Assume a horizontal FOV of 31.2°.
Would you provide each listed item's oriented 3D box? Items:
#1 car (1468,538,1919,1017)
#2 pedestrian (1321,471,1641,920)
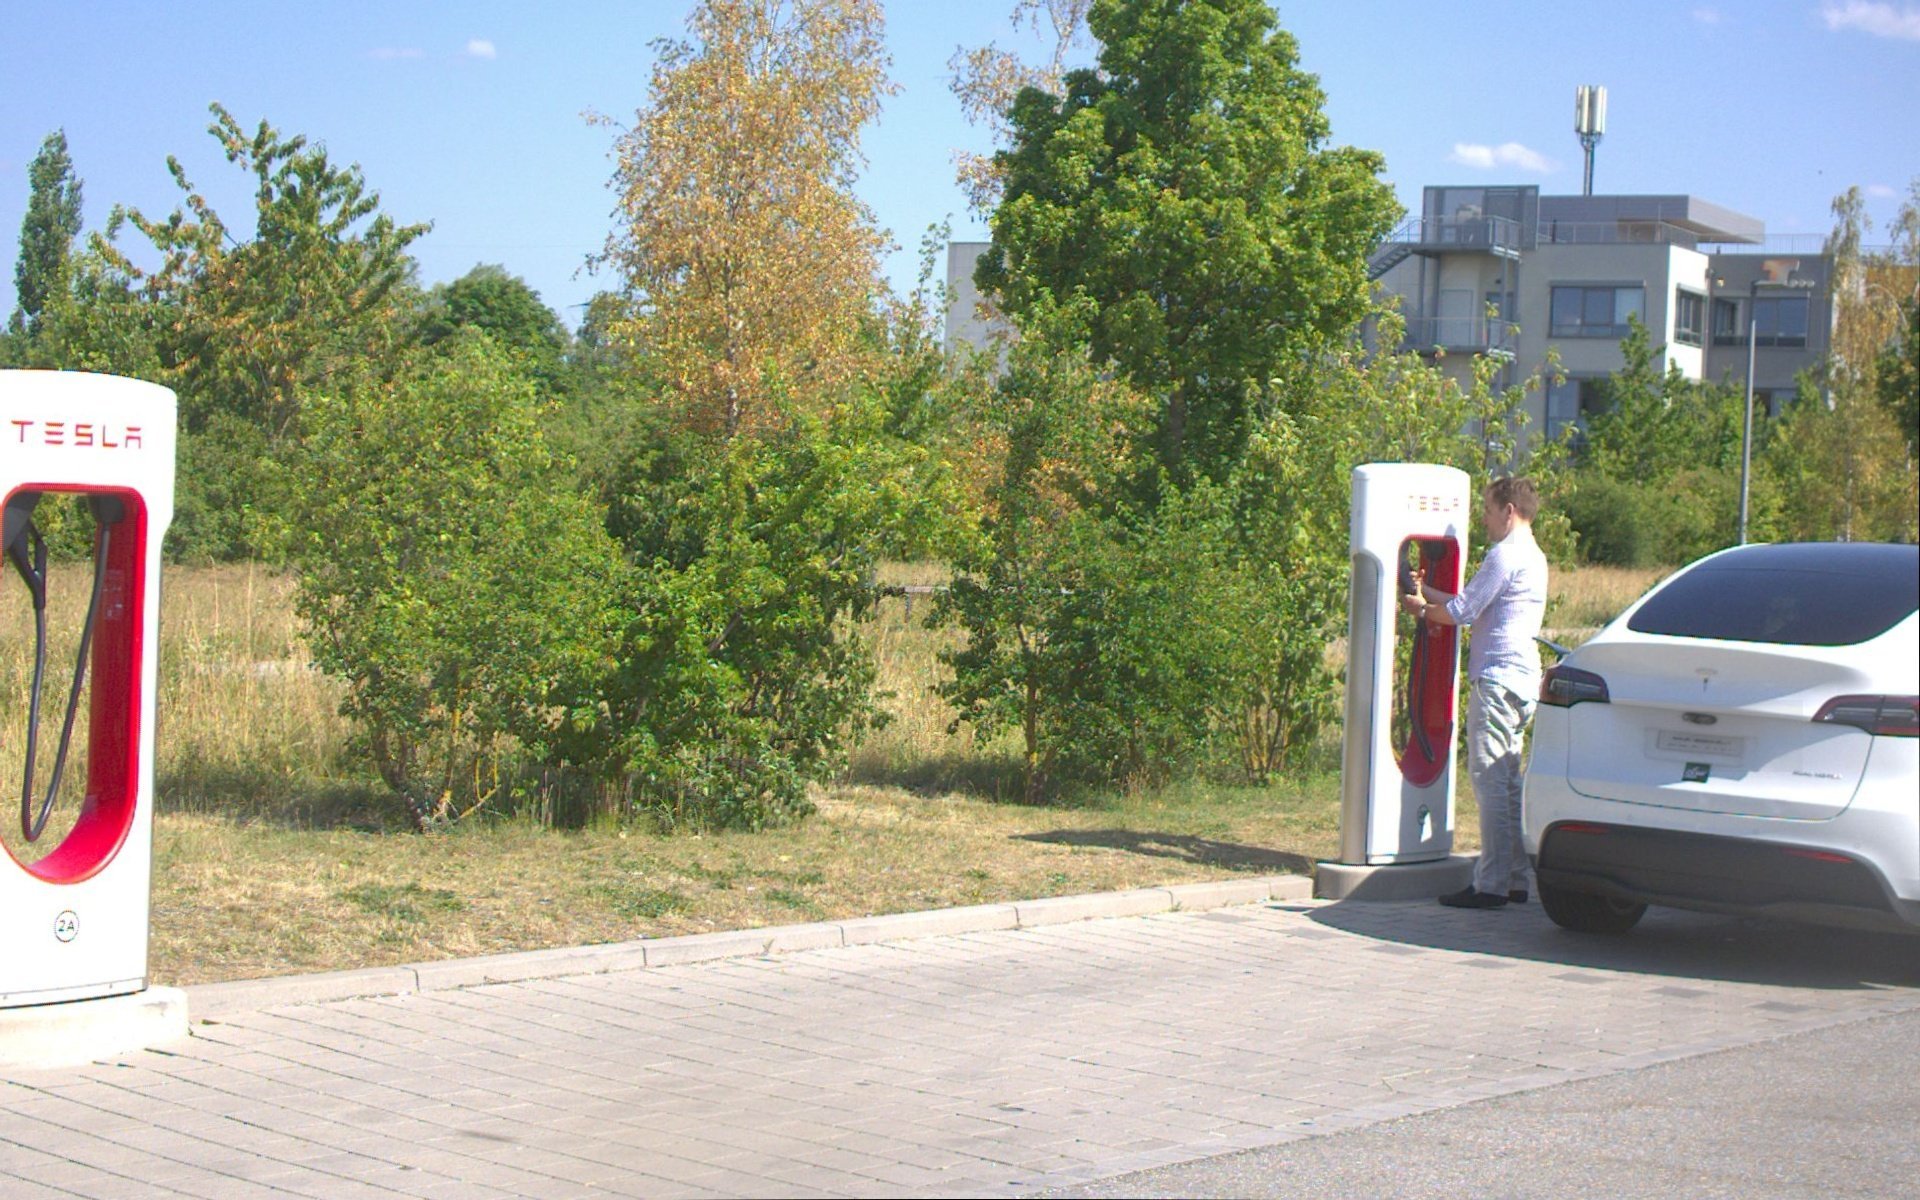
[{"bbox_3d":[4.015,0.605,14.292,1.868,1.594,4.480,4,2,35],"label":"car"},{"bbox_3d":[2.204,0.375,14.550,1.034,1.794,0.735,4,2,37],"label":"pedestrian"}]
